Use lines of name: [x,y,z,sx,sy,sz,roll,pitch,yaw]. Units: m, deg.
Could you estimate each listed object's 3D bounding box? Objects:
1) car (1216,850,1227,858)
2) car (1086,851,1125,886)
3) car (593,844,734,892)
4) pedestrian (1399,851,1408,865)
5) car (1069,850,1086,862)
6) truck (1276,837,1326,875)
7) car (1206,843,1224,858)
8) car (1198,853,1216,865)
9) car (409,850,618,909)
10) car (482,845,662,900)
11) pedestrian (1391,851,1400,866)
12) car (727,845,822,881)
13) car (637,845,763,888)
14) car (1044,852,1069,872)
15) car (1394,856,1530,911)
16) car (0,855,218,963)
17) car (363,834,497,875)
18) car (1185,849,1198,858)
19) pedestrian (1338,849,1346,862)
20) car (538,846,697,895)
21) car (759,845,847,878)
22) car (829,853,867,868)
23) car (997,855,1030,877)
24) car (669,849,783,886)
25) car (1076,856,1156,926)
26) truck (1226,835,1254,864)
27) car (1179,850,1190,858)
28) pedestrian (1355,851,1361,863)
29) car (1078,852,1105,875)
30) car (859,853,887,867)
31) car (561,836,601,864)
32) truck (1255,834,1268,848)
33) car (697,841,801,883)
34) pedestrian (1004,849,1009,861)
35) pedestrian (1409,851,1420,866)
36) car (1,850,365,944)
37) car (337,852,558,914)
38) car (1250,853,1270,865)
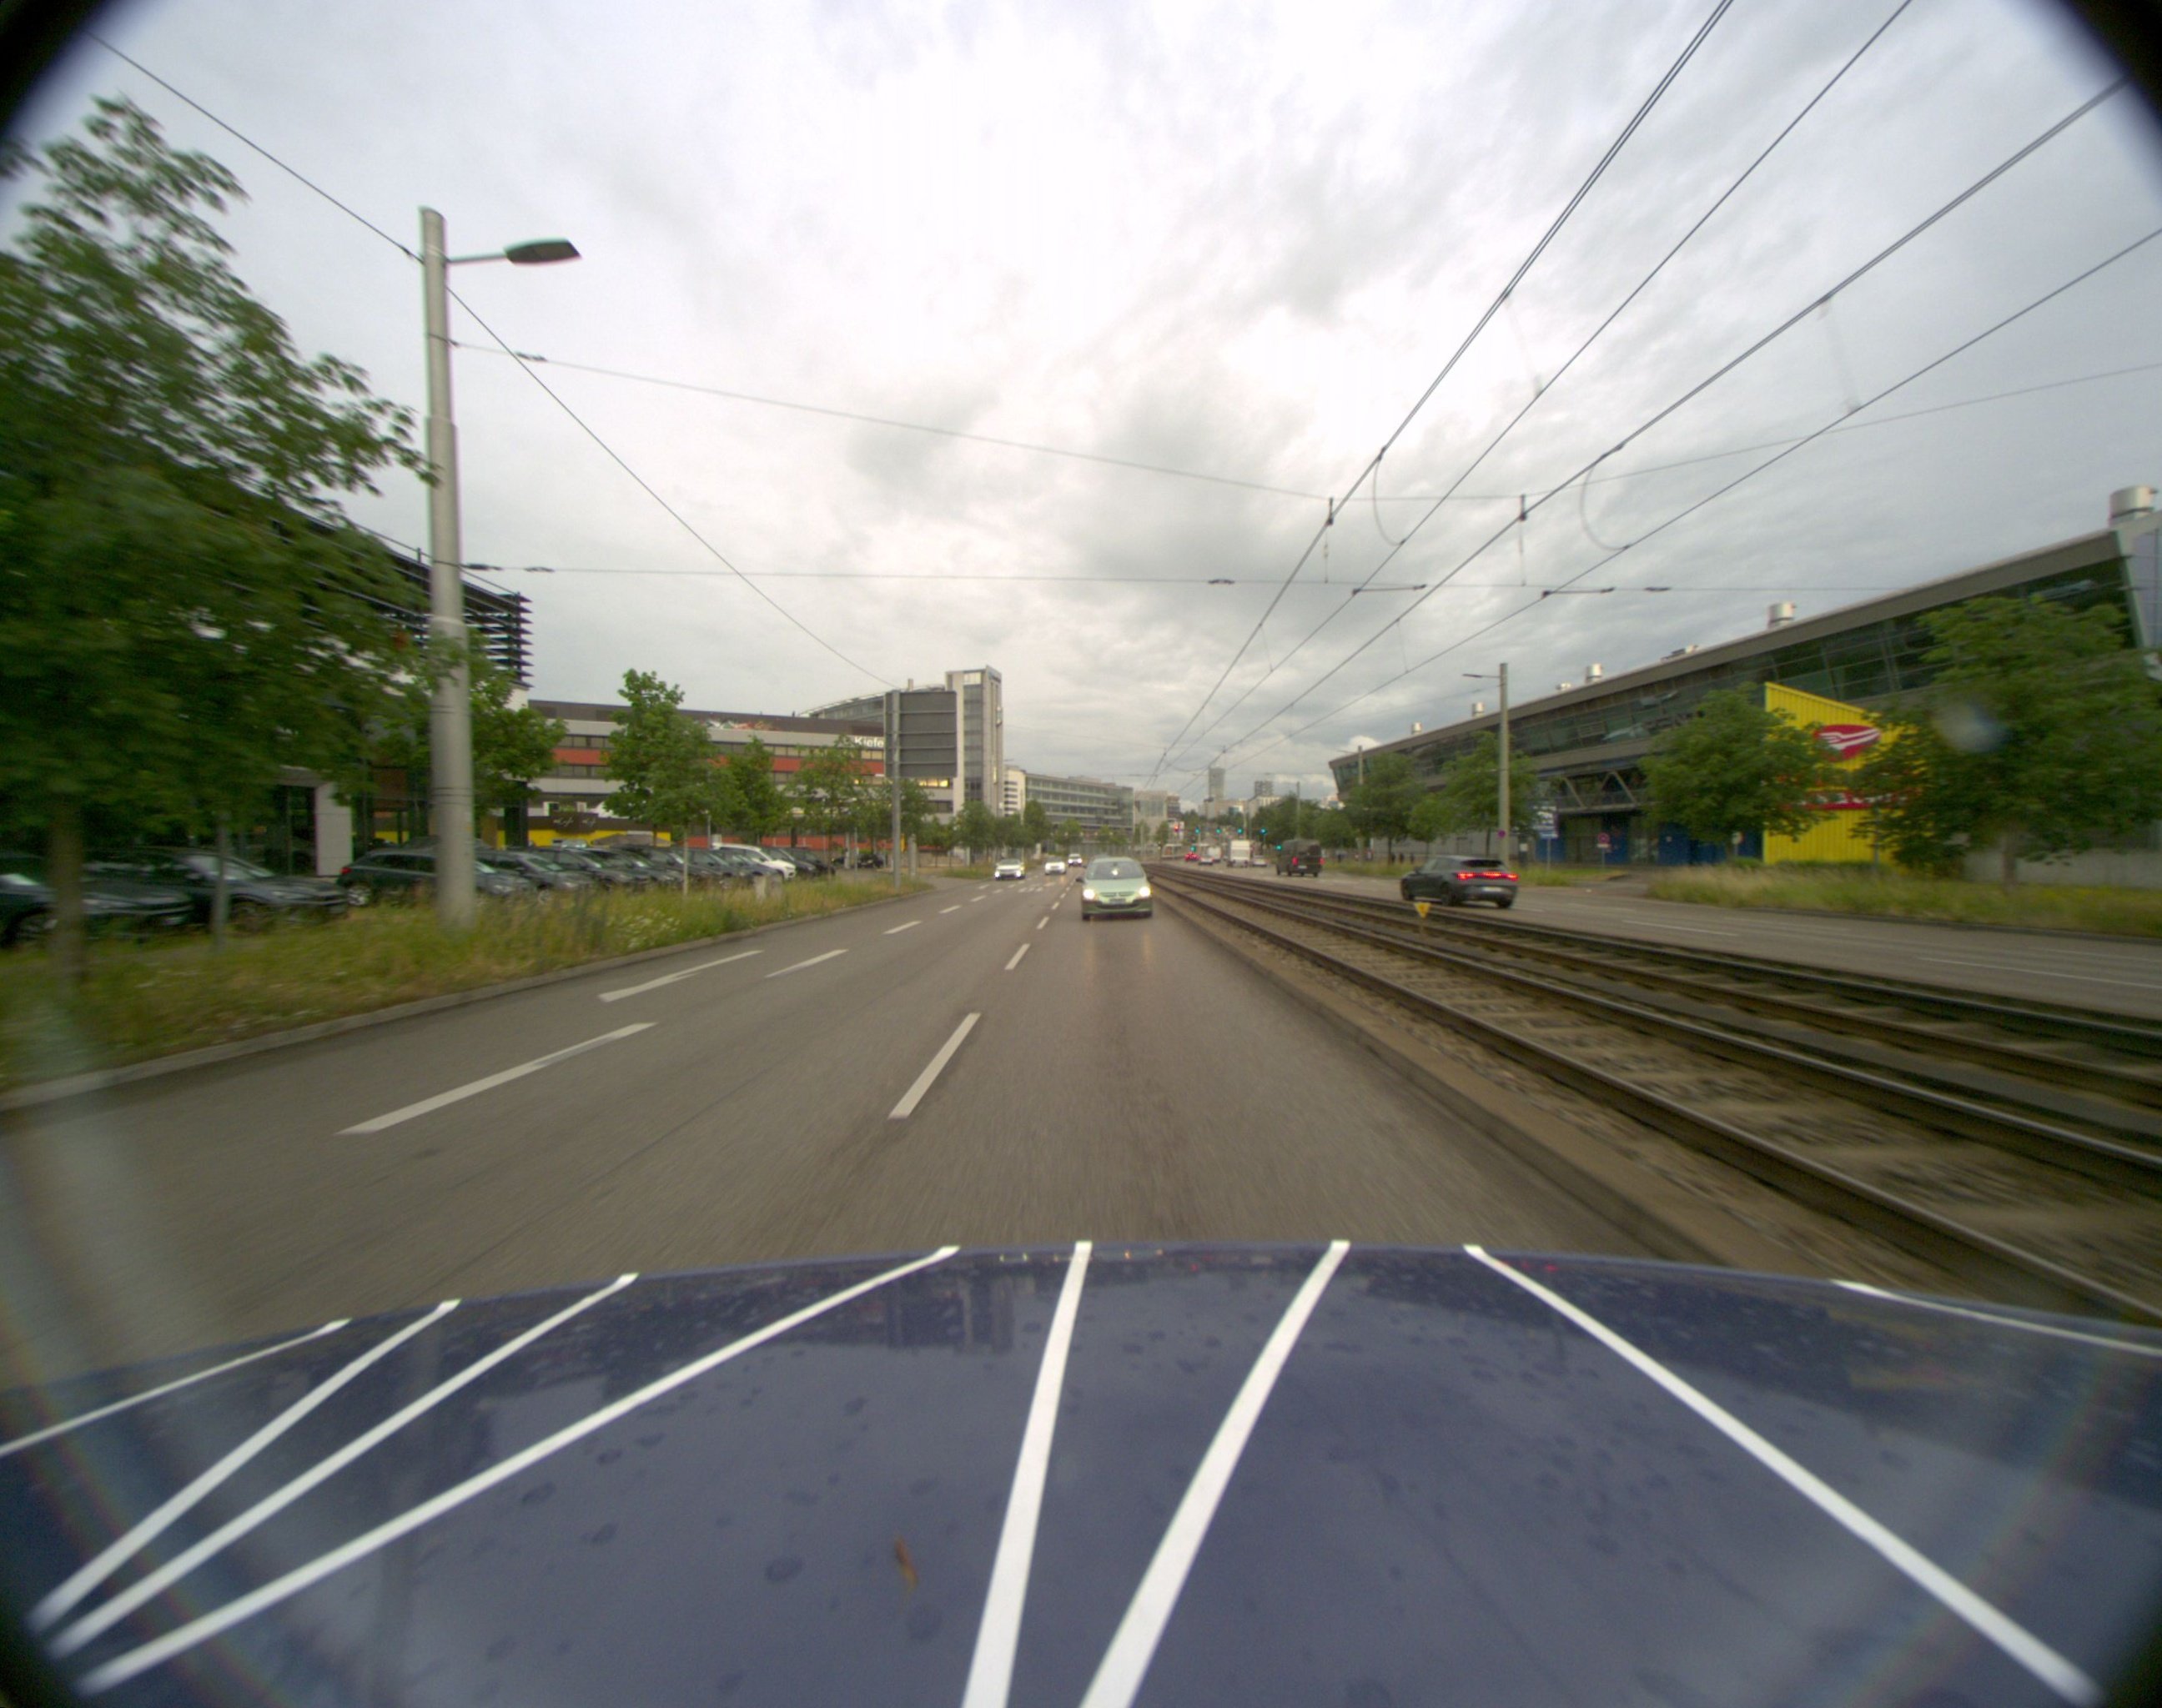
car: [27.053,-0.016,146.405,1.751,1.392,4.002,0,0,8]
car: [1.242,0.690,37.810,1.762,1.535,3.715,-3,1,3]
car: [-16.371,0.541,30.012,4.501,1.785,1.819,1,1,-12]
pedestrian: [32.831,0.409,77.310,0.452,1.447,0.653,-3,1,-9]
car: [-0.479,0.260,104.845,1.889,1.584,3.983,-1,0,7]
truck: [15.607,0.090,54.356,2.243,2.550,7.017,0,0,6]
car: [22.026,-0.578,125.069,2.438,2.486,6.550,1,0,5]
car: [17.083,0.662,103.298,1.810,1.490,4.442,2,0,3]
car: [-16.308,0.721,22.060,4.501,1.560,1.819,1,1,-10]
car: [-16.414,0.584,24.721,4.501,1.653,1.819,1,1,-10]
pedestrian: [32.088,0.445,77.471,0.512,1.447,0.653,-3,1,-9]
car: [-16.143,0.455,40.213,4.392,1.779,1.876,1,1,-13]
car: [-16.315,0.519,32.719,4.501,1.742,1.819,1,1,-12]
car: [-2.029,0.659,64.569,1.818,1.584,3.836,-2,0,2]
car: [10.883,0.774,22.063,1.807,1.420,4.236,1,0,0]
car: [-16.601,0.792,11.619,4.156,1.525,1.791,1,1,-18]
car: [-24.951,0.027,29.312,1.784,1.464,3.899,0,0,0]
car: [19.545,-0.076,134.571,1.913,1.647,4.362,2,0,4]
pedestrian: [32.051,0.186,93.369,0.684,1.554,0.627,-3,1,2]
car: [-16.443,0.567,27.161,4.500,1.610,1.820,1,1,-8]
car: [-16.123,0.447,44.211,1.873,1.805,4.401,1,-1,41]
car: [-29.126,0.796,95.021,4.363,1.637,1.791,-3,1,-19]
car: [-4.810,0.805,54.815,1.878,1.485,3.837,-1,0,3]
car: [-16.338,0.624,35.193,4.502,1.628,1.819,1,1,-13]
car: [0.864,0.865,19.707,1.762,1.489,4.137,-3,1,1]
truck: [19.322,-0.551,92.656,2.732,3.338,7.156,1,0,7]
car: [21.342,-0.046,156.817,1.998,1.721,4.679,1,0,3]
pedestrian: [34.631,0.412,95.025,0.549,1.489,0.758,-3,1,4]
car: [0.748,0.680,56.615,1.762,1.535,3.713,-3,1,-2]
car: [-21.059,0.595,77.013,1.784,1.410,3.782,1,0,1]
car: [-30.037,-0.195,45.736,1.848,1.634,4.305,0,0,-31]
truck: [58.846,-4.071,247.730,3.262,4.503,7.103,0,0,22]
car: [-16.350,0.411,37.691,4.503,1.980,1.818,1,1,-17]
pedestrian: [-12.499,0.197,127.684,0.683,1.890,0.677,-3,1,-20]
pedestrian: [32.204,0.420,73.378,0.609,1.431,0.745,-3,1,-3]
car: [-16.391,0.751,14.165,4.060,1.567,1.730,1,1,-18]
car: [-16.163,0.732,19.585,4.058,1.493,1.685,1,1,-10]
car: [22.896,0.657,97.501,1.901,1.480,4.425,0,0,5]
